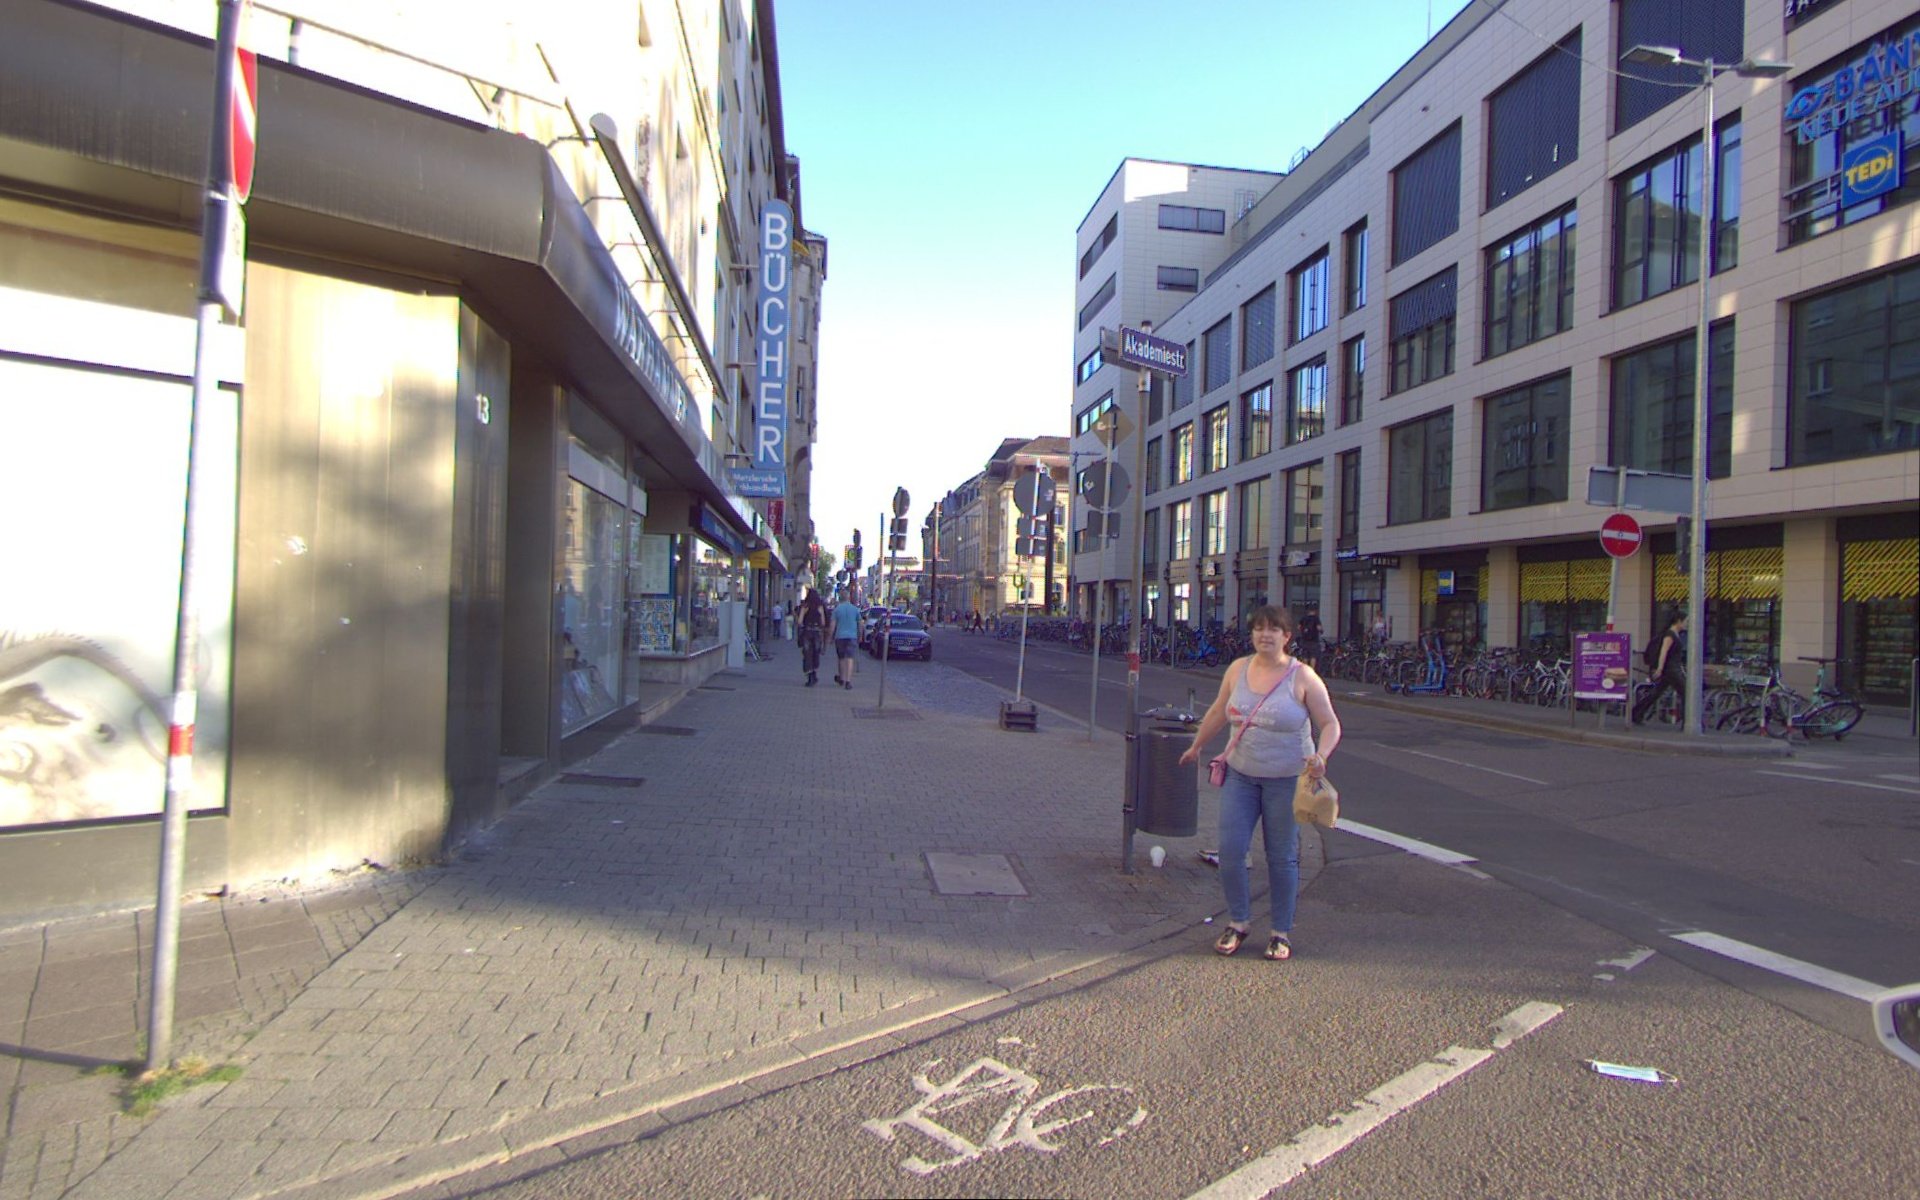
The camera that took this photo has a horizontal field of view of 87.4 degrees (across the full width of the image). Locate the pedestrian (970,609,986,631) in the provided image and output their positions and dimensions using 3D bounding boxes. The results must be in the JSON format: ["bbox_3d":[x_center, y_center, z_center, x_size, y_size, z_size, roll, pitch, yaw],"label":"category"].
[{"bbox_3d":[1.200,1.341,67.078,0.907,1.448,0.401,1,0,-13],"label":"pedestrian"}]

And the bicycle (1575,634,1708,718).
[{"bbox_3d":[11.028,1.227,16.260,1.943,1.271,0.512,2,0,-10],"label":"bicycle"}]

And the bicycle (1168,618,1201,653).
[{"bbox_3d":[8.886,1.399,39.805,0.504,1.271,1.975,2,0,-11],"label":"bicycle"}]

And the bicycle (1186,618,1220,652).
[{"bbox_3d":[9.641,1.387,39.984,0.504,1.271,1.975,2,0,-11],"label":"bicycle"}]

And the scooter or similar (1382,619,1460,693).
[{"bbox_3d":[8.392,1.015,18.283,1.248,1.277,0.387,2,0,-10],"label":"scooter or similar"}]

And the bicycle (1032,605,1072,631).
[{"bbox_3d":[4.736,0.934,51.563,1.947,1.271,0.511,2,0,-17],"label":"bicycle"}]

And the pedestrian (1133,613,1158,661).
[{"bbox_3d":[6.757,1.342,36.539,0.672,1.718,0.643,1,0,-9],"label":"pedestrian"}]

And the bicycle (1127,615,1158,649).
[{"bbox_3d":[7.199,1.259,39.762,0.504,1.271,1.975,2,0,-11],"label":"bicycle"}]

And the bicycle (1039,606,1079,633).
[{"bbox_3d":[4.982,0.988,50.491,1.947,1.271,0.511,2,0,-17],"label":"bicycle"}]

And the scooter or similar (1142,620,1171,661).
[{"bbox_3d":[6.119,1.255,31.339,0.506,1.196,1.270,2,0,-5],"label":"scooter or similar"}]

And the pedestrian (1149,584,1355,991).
[{"bbox_3d":[1.346,0.766,4.563,0.789,1.634,0.734,2,0,22],"label":"pedestrian"}]

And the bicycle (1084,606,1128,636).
[{"bbox_3d":[6.731,0.965,46.338,1.943,1.271,0.512,2,0,-10],"label":"bicycle"}]

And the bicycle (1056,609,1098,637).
[{"bbox_3d":[5.608,1.123,48.239,1.947,1.271,0.511,2,0,-17],"label":"bicycle"}]

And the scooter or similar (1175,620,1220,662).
[{"bbox_3d":[7.363,1.276,31.124,1.248,1.259,0.387,2,0,-10],"label":"scooter or similar"}]

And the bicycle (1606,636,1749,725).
[{"bbox_3d":[11.056,1.239,15.499,1.943,1.271,0.512,2,0,-8],"label":"bicycle"}]

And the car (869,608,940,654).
[{"bbox_3d":[-1.948,1.002,34.007,1.831,1.409,3.992,1,0,-11],"label":"car"}]

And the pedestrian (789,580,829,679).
[{"bbox_3d":[-2.727,0.526,18.138,0.653,1.730,0.802,2,0,-9],"label":"pedestrian"}]

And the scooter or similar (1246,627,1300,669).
[{"bbox_3d":[7.982,1.232,25.651,1.248,1.005,0.387,2,0,-10],"label":"scooter or similar"}]

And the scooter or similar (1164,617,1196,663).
[{"bbox_3d":[6.412,1.158,29.340,0.506,1.259,1.270,2,0,-5],"label":"scooter or similar"}]

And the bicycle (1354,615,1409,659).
[{"bbox_3d":[13.252,1.148,31.654,0.601,1.271,1.976,2,0,-9],"label":"bicycle"}]

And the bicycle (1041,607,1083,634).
[{"bbox_3d":[5.036,1.014,49.596,1.947,1.271,0.511,2,0,-17],"label":"bicycle"}]

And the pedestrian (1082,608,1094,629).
[{"bbox_3d":[8.777,1.249,68.849,0.672,1.444,0.643,1,0,-9],"label":"pedestrian"}]

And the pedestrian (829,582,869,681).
[{"bbox_3d":[-2.020,0.563,18.203,0.653,1.730,0.802,2,0,-9],"label":"pedestrian"}]

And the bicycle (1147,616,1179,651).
[{"bbox_3d":[8.037,1.321,39.776,0.504,1.271,1.975,2,0,-11],"label":"bicycle"}]

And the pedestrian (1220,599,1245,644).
[{"bbox_3d":[10.427,0.821,38.471,0.672,1.718,0.643,1,0,-9],"label":"pedestrian"}]

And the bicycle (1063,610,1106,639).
[{"bbox_3d":[5.861,1.161,47.236,1.947,1.271,0.511,2,0,-17],"label":"bicycle"}]

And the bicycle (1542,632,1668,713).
[{"bbox_3d":[10.936,1.226,17.042,1.944,1.271,0.512,2,0,-11],"label":"bicycle"}]

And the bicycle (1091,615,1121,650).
[{"bbox_3d":[5.688,1.259,39.315,0.504,1.271,1.975,2,0,-11],"label":"bicycle"}]

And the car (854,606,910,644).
[{"bbox_3d":[-3.312,1.015,41.898,1.831,1.409,4.613,1,0,-11],"label":"car"}]

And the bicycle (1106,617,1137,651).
[{"bbox_3d":[6.329,1.317,39.392,0.504,1.271,1.975,2,0,-11],"label":"bicycle"}]

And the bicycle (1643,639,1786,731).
[{"bbox_3d":[11.174,1.254,14.887,1.944,1.271,0.512,2,0,-12],"label":"bicycle"}]

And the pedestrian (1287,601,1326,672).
[{"bbox_3d":[8.536,0.887,24.777,0.671,1.718,0.644,1,0,-6],"label":"pedestrian"}]

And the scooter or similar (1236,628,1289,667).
[{"bbox_3d":[7.929,1.251,26.328,1.248,0.954,0.387,2,0,-10],"label":"scooter or similar"}]

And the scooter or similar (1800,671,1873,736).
[{"bbox_3d":[12.712,1.497,14.572,0.756,0.896,0.387,2,0,-10],"label":"scooter or similar"}]

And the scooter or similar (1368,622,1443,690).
[{"bbox_3d":[8.365,1.047,18.872,1.248,1.228,0.387,2,0,-10],"label":"scooter or similar"}]

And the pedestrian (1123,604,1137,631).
[{"bbox_3d":[10.759,1.115,63.651,0.672,1.718,0.643,1,0,-9],"label":"pedestrian"}]

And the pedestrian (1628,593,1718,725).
[{"bbox_3d":[9.542,0.767,13.452,0.860,1.680,0.615,2,1,44],"label":"pedestrian"}]
